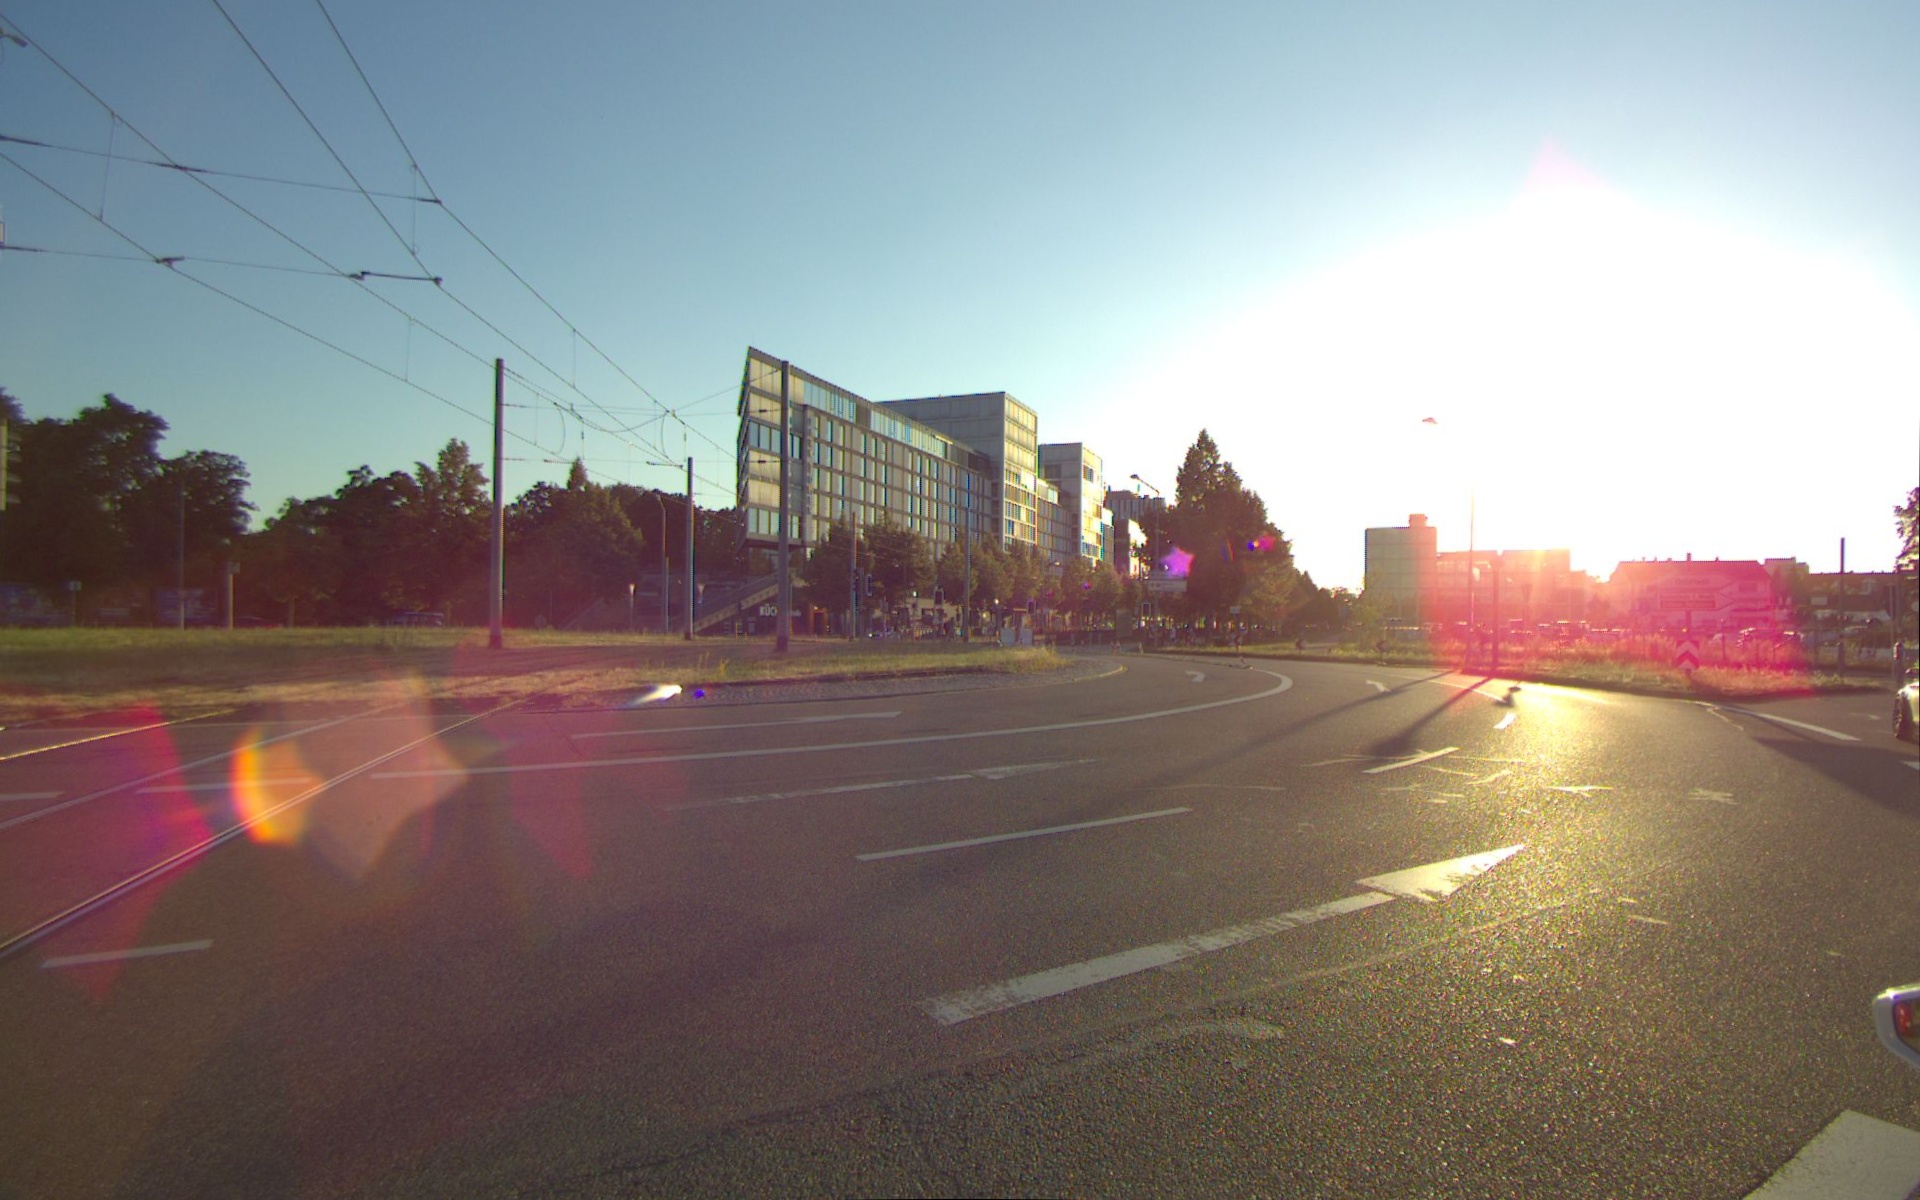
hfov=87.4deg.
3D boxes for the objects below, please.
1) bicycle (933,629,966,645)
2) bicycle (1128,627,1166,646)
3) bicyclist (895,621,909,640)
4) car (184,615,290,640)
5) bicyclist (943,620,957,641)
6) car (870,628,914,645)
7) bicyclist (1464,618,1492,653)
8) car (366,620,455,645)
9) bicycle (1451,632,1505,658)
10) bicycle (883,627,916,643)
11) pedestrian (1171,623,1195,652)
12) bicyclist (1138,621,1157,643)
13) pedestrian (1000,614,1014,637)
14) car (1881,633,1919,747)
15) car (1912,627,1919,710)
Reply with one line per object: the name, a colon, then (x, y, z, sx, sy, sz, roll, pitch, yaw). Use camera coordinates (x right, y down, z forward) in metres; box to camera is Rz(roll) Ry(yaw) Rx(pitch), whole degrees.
bicycle: (-0.772, 2.734, 74.516, 2.360, 1.182, 0.755, 1, -1, 10)
bicycle: (12.296, 2.392, 65.979, 2.373, 1.182, 0.751, 0, -1, 40)
bicyclist: (-4.385, 2.306, 75.535, 0.861, 1.411, 0.755, 1, -1, 13)
car: (-41.692, 1.586, 58.043, 4.518, 1.451, 1.939, 0, -1, -15)
bicyclist: (-0.742, 2.250, 74.538, 0.958, 1.545, 0.755, 1, -1, 10)
car: (-6.441, 3.441, 95.786, 1.962, 1.565, 5.199, 0, -2, 25)
bicyclist: (25.061, 1.708, 48.607, 0.744, 1.634, 0.972, 1, -1, -25)
car: (-32.580, 1.911, 59.700, 4.246, 1.451, 1.940, 0, -1, -13)
bicycle: (25.059, 2.182, 48.624, 0.744, 1.182, 2.394, 1, -1, -25)
bicycle: (-4.544, 2.619, 75.539, 2.360, 1.182, 0.755, 1, -1, 13)
pedestrian: (14.252, 2.380, 64.272, 1.146, 1.851, 0.973, 0, -1, 44)
bicyclist: (12.298, 2.119, 65.959, 0.964, 1.412, 0.751, 0, -1, 39)
pedestrian: (3.542, 1.917, 75.264, 0.870, 1.730, 0.795, 1, -1, 16)
car: (13.205, 1.190, 12.510, 1.925, 1.446, 4.416, 2, 0, 35)
car: (20.628, 1.480, 20.135, 4.049, 1.623, 1.932, 4, 2, -43)
